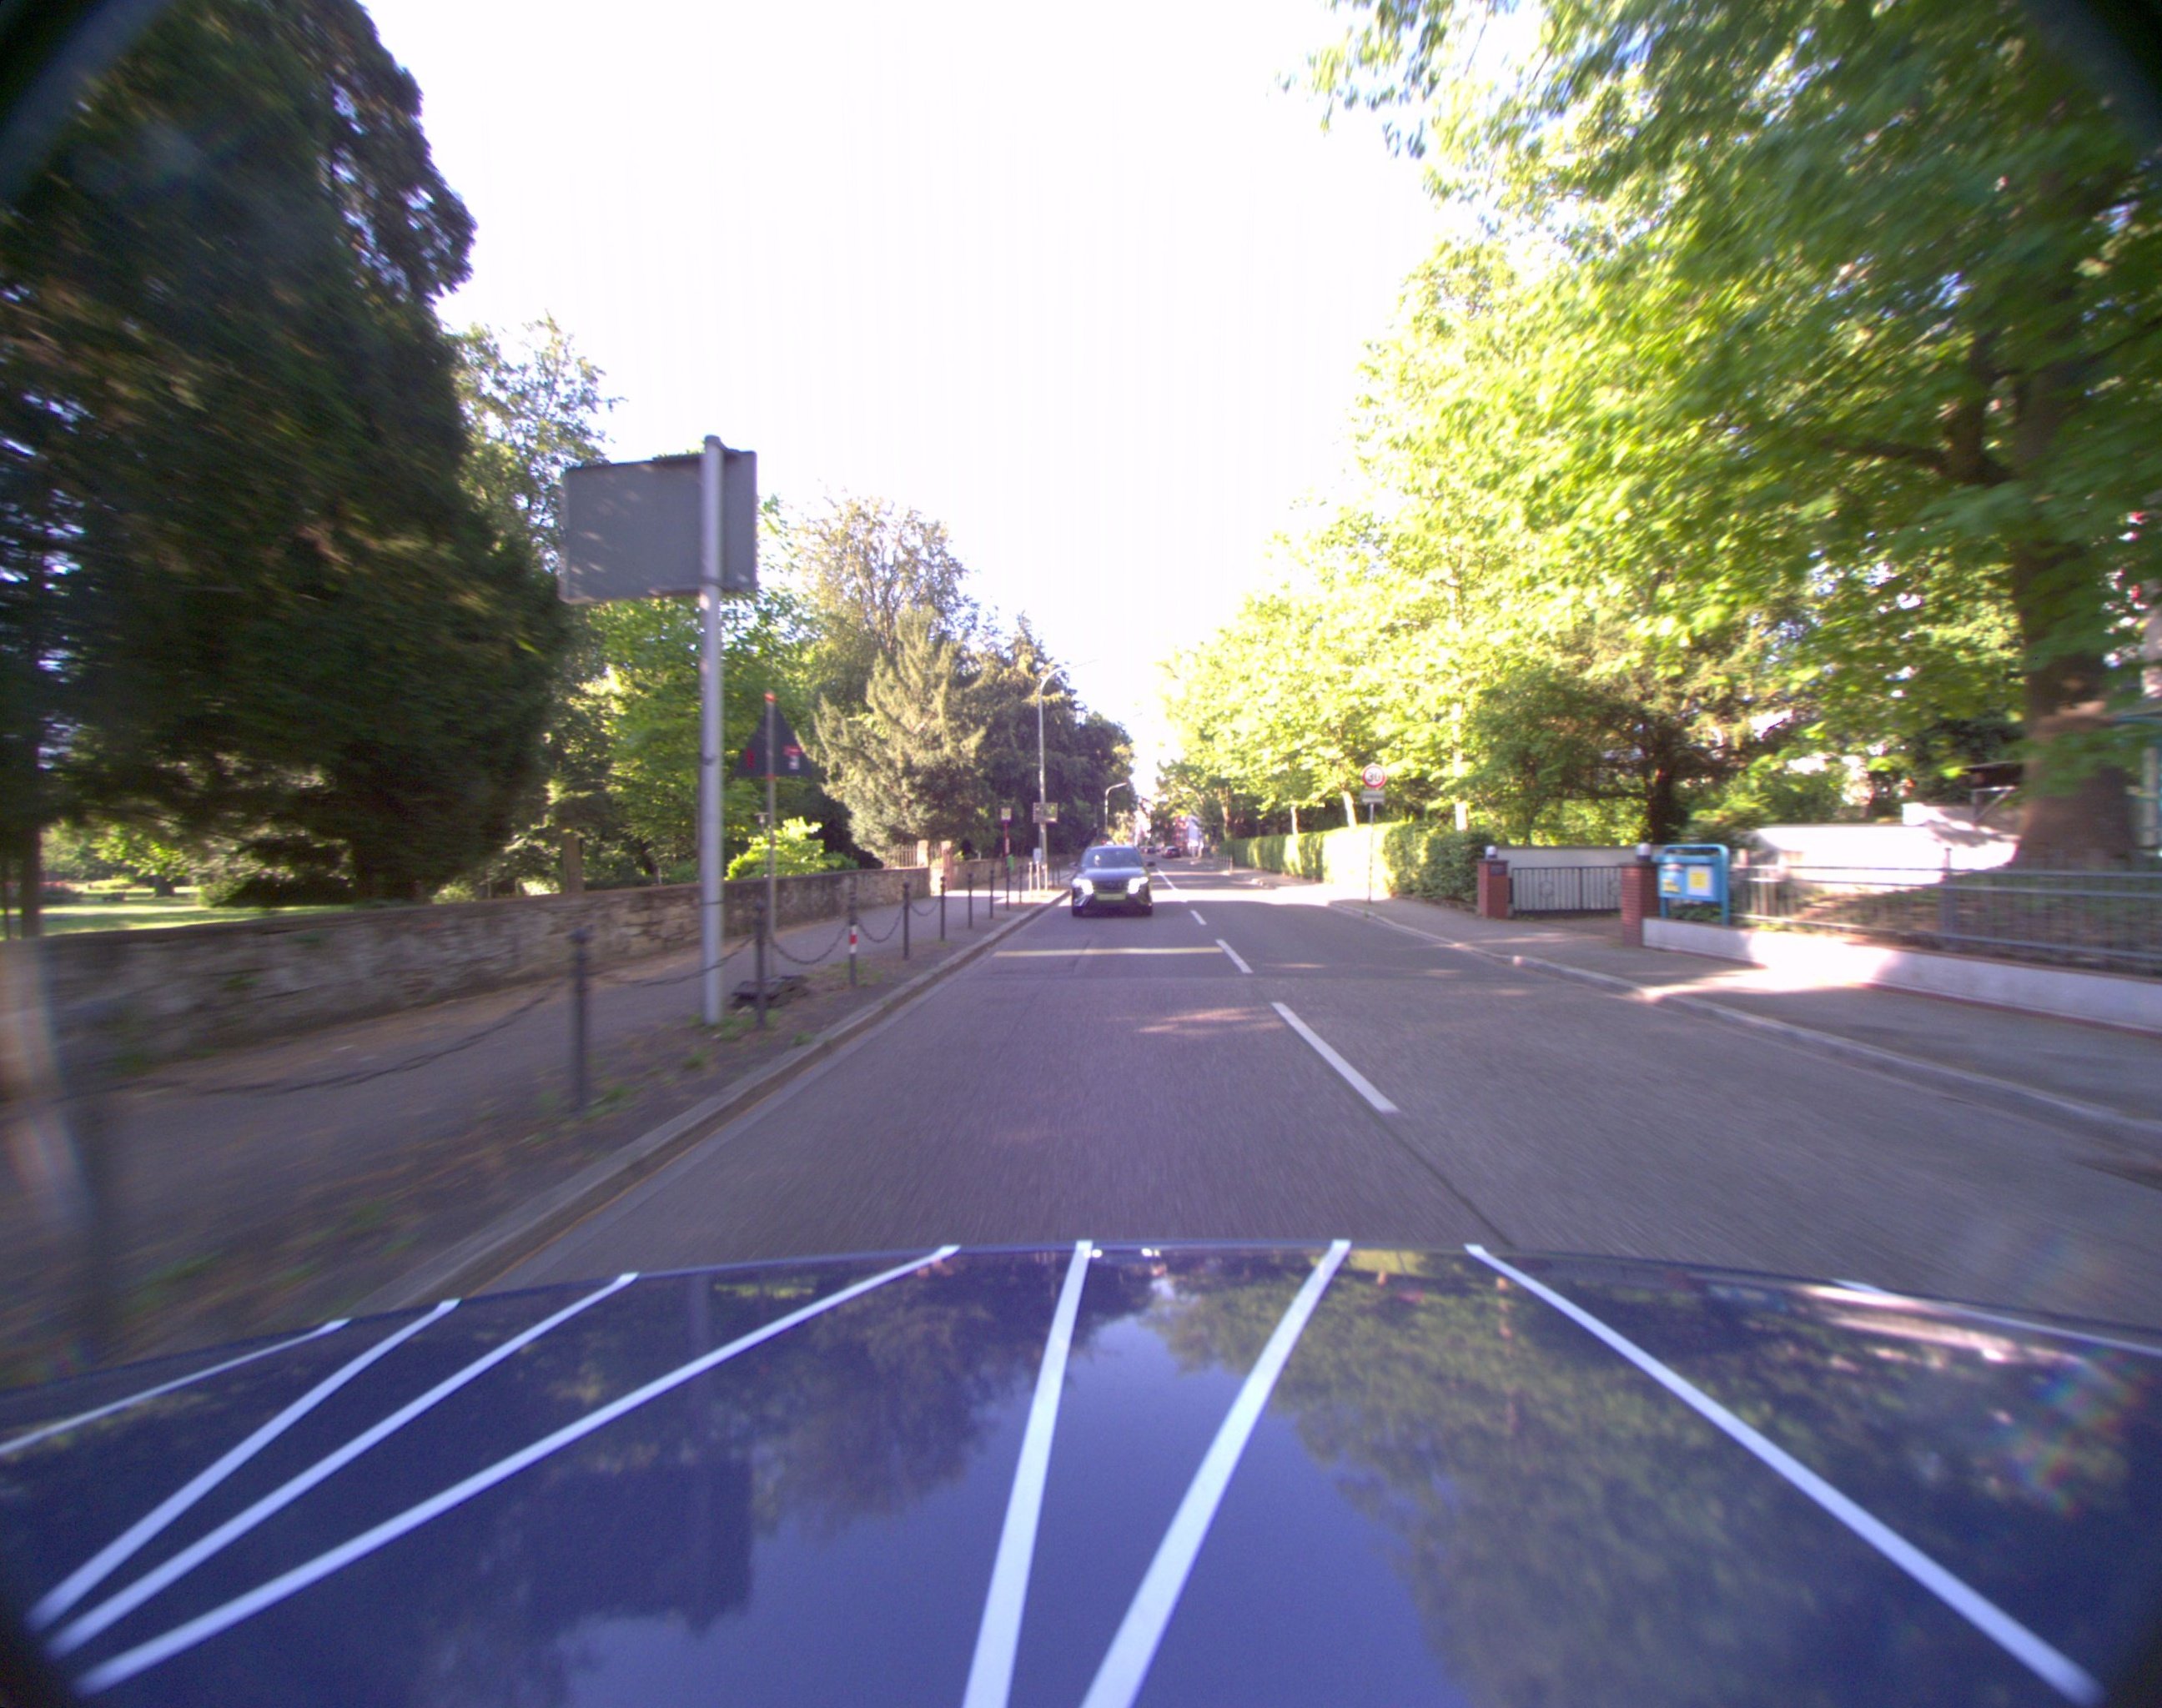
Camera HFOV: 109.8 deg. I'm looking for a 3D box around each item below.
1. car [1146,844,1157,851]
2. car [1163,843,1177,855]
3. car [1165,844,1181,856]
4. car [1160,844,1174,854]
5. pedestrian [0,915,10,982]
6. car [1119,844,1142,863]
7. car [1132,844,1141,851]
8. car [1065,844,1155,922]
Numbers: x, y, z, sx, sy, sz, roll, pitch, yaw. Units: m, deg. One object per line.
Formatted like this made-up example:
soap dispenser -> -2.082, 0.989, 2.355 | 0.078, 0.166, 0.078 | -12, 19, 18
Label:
car -> 14.165, -1.292, 152.746 | 1.824, 1.375, 3.934 | 2, 1, -1
car -> 11.853, -0.728, 101.329 | 1.627, 1.538, 3.322 | -1, 1, 3
car -> 11.550, -0.505, 95.911 | 1.689, 1.426, 3.616 | -4, 1, 3
car -> 12.008, -0.703, 106.137 | 1.627, 1.426, 3.559 | -2, 1, 2
pedestrian -> -26.955, 2.346, 18.542 | 0.616, 1.631, 0.636 | -3, 1, 6
car -> 4.811, -0.071, 73.539 | 1.998, 1.630, 4.001 | -3, 1, 5
car -> 13.108, -1.502, 179.278 | 1.824, 1.375, 3.934 | 2, 1, -1
car -> 0.780, 0.618, 18.631 | 1.936, 1.676, 4.433 | -1, 0, 4
